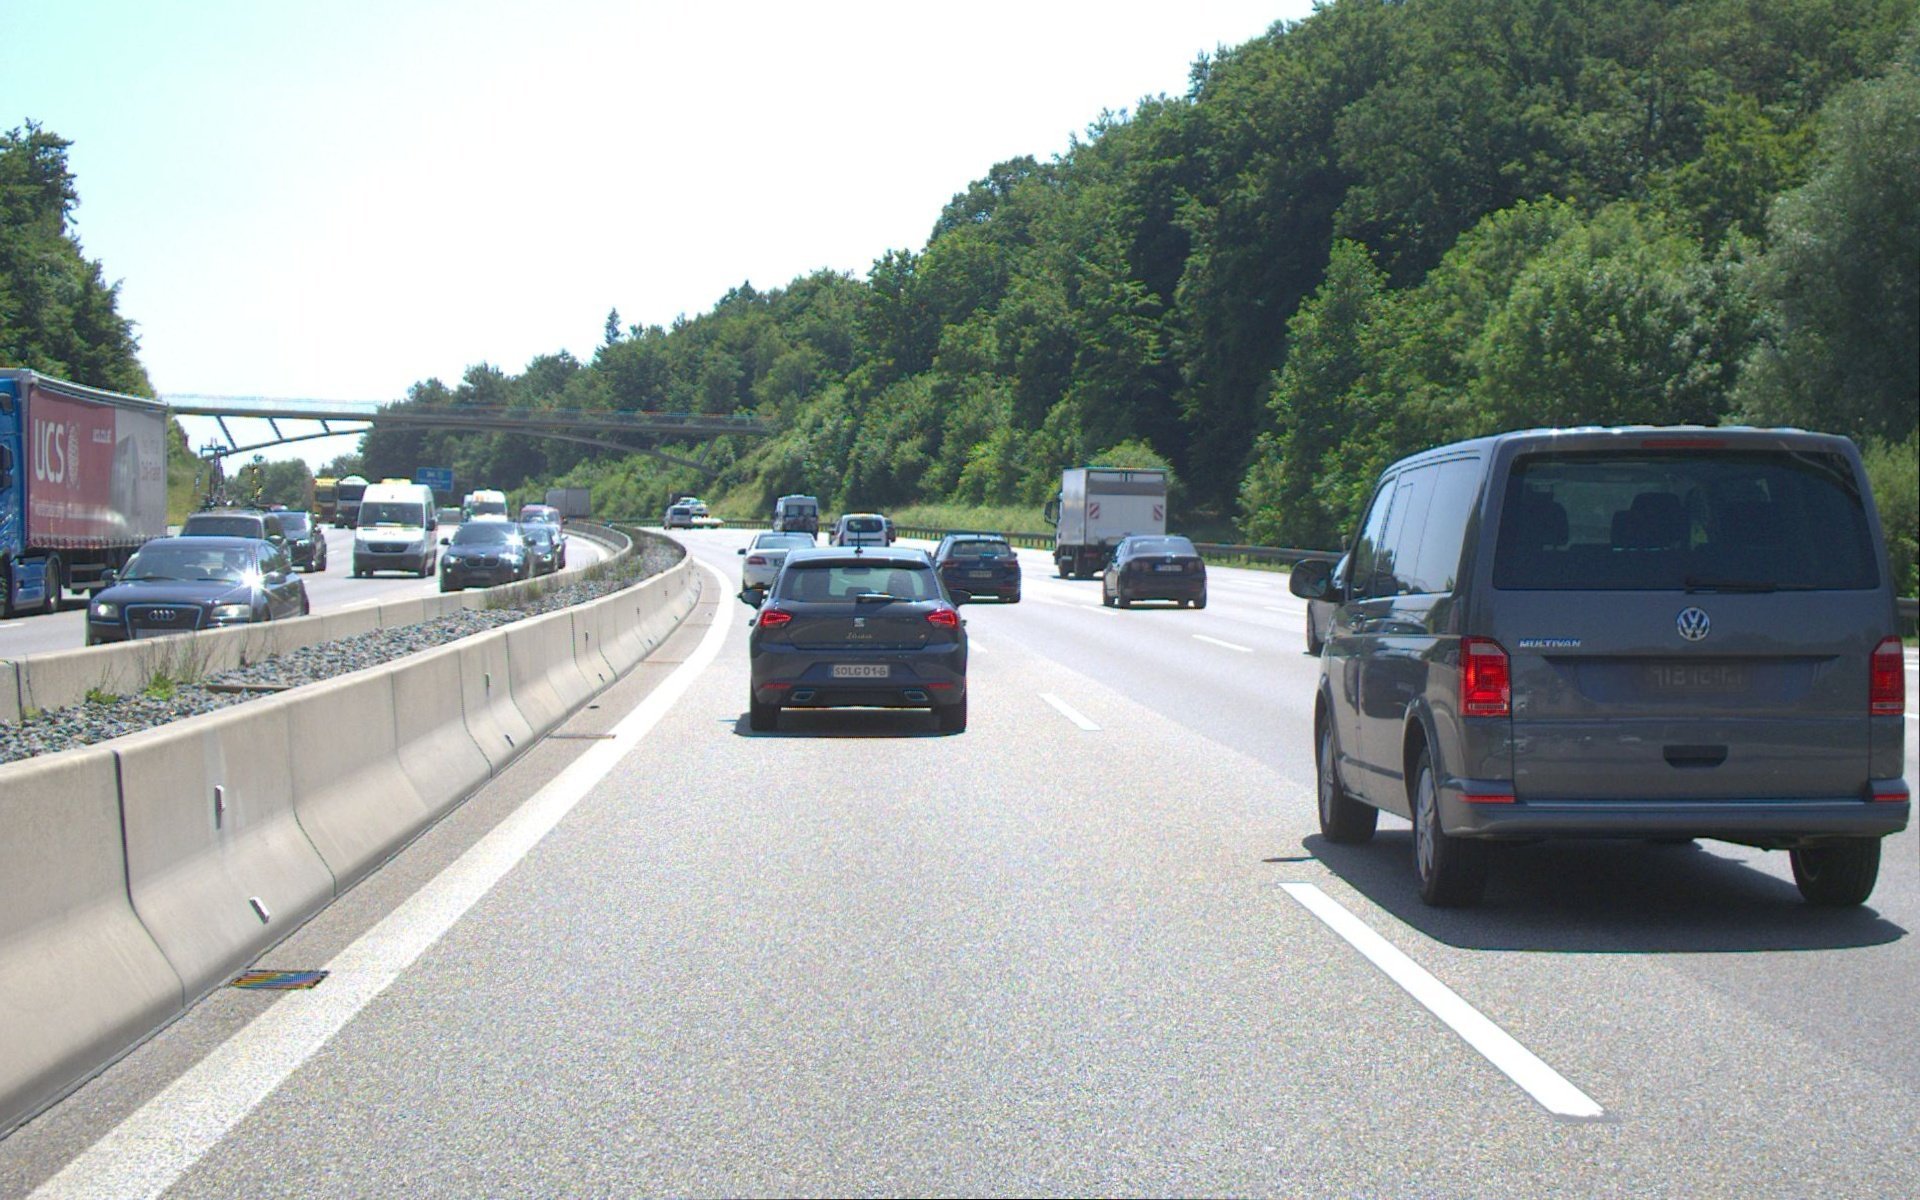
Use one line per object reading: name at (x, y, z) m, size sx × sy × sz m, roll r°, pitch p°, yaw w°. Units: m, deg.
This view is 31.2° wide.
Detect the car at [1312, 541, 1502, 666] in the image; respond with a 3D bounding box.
car at (5.544, 0.007, 43.079) m, size 1.702 × 1.391 × 4.154 m, roll 2°, pitch 1°, yaw -1°

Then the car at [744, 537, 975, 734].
car at (-0.765, 0.230, 27.890) m, size 1.708 × 1.428 × 4.000 m, roll 1°, pitch 1°, yaw 0°

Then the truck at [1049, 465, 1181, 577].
truck at (4.514, -2.351, 101.584) m, size 2.985 × 3.156 × 7.576 m, roll 1°, pitch 2°, yaw -4°

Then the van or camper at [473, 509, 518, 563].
van or camper at (-24.547, -3.383, 181.762) m, size 1.993 × 2.790 × 7.416 m, roll 0°, pitch 1°, yaw -5°

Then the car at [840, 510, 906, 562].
car at (-3.037, -2.246, 119.390) m, size 2.103 × 1.738 × 4.688 m, roll 1°, pitch 2°, yaw -3°

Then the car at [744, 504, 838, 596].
car at (-3.753, -1.090, 76.994) m, size 2.012 × 1.839 × 4.000 m, roll 1°, pitch -2°, yaw -2°

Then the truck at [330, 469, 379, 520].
truck at (-42.463, -7.370, 241.398) m, size 2.609 × 3.454 × 9.884 m, roll 2°, pitch 1°, yaw -6°

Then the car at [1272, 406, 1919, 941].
car at (2.716, 0.240, 15.660) m, size 1.962 × 2.026 × 5.084 m, roll 0°, pitch 1°, yaw -2°

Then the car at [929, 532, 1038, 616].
car at (0.469, -0.538, 73.213) m, size 1.993 × 1.722 × 4.149 m, roll 1°, pitch 0°, yaw -4°

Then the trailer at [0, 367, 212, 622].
trailer at (-17.367, -1.912, 65.087) m, size 3.835 × 4.265 × 14.478 m, roll 2°, pitch 1°, yaw -3°

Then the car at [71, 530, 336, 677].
car at (-8.384, -0.009, 38.542) m, size 1.956 × 1.513 × 5.134 m, roll 1°, pitch 1°, yaw -2°

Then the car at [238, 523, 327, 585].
car at (-19.946, -1.368, 101.386) m, size 1.993 × 1.756 × 5.070 m, roll 1°, pitch 1°, yaw -5°

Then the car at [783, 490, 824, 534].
car at (-8.714, -4.874, 191.332) m, size 2.265 × 2.363 × 4.702 m, roll 1°, pitch 1°, yaw -3°

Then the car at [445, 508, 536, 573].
car at (-10.310, -1.311, 75.642) m, size 1.640 × 1.345 × 4.001 m, roll 2°, pitch 1°, yaw -3°

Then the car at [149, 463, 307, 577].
car at (-13.182, -1.433, 62.150) m, size 1.993 × 1.960 × 4.784 m, roll 1°, pitch 1°, yaw -2°

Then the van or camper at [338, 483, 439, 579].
van or camper at (-15.932, -1.922, 96.108) m, size 2.099 × 2.557 × 6.401 m, roll 1°, pitch 1°, yaw -4°

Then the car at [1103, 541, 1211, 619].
car at (3.896, -0.426, 68.606) m, size 1.665 × 1.403 × 4.904 m, roll 1°, pitch 2°, yaw -2°

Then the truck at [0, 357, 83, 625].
truck at (-16.913, -1.787, 56.249) m, size 3.785 × 4.163 × 5.880 m, roll 2°, pitch 1°, yaw -3°
